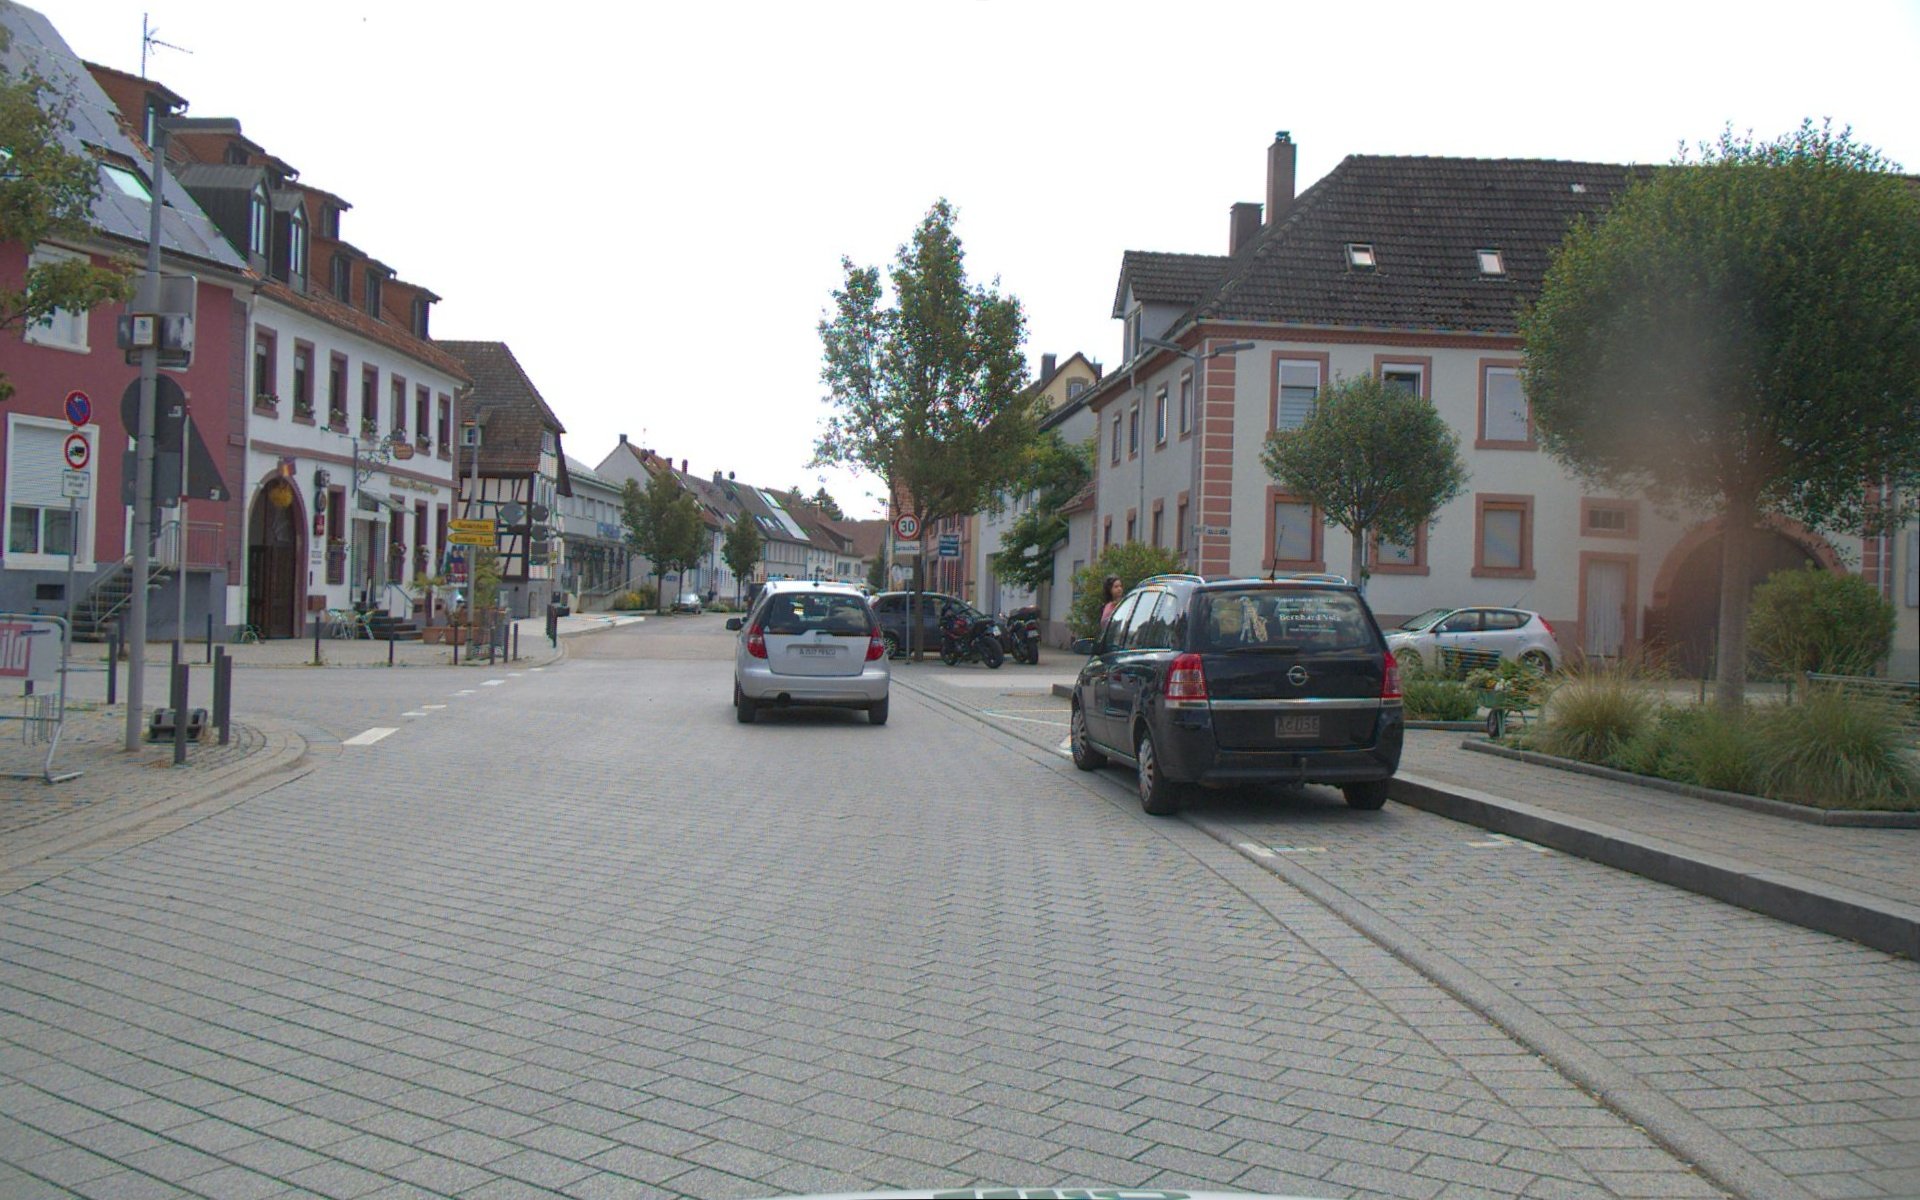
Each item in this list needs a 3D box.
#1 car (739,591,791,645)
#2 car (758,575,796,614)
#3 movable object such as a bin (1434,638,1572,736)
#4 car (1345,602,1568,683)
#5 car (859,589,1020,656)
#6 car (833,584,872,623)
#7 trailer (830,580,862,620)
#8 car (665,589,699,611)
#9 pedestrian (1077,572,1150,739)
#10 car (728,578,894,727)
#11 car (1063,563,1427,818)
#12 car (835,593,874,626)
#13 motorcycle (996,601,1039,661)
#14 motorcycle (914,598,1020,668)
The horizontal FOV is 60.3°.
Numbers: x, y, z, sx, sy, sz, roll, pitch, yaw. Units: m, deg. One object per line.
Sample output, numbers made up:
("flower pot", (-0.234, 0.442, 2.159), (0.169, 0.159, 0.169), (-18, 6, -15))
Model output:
("car", (-7.562, 0.679, 64.489), (1.734, 1.920, 4.442), (4, -1, -5))
("car", (-11.054, -0.325, 100.161), (2.193, 2.261, 3.995), (1, -1, -6))
("movable object such as a bin", (5.399, 0.847, 16.522), (0.721, 0.881, 1.433), (2, 0, -9))
("car", (9.918, 0.829, 33.210), (3.912, 1.499, 1.825), (1, 0, -1))
("car", (-0.535, 0.546, 41.072), (3.778, 1.605, 1.846), (0, 0, -10))
("car", (-5.762, 0.176, 88.191), (1.855, 2.017, 4.925), (-1, 0, -6))
("trailer", (-7.085, -0.001, 102.835), (1.809, 2.395, 3.584), (1, 0, -6))
("car", (-19.207, -0.006, 114.396), (1.768, 1.486, 4.156), (2, 0, -2))
("pedestrian", (1.551, 0.556, 16.800), (0.626, 1.657, 0.620), (1, 0, -3))
("car", (-1.906, 0.562, 20.153), (1.736, 1.622, 3.991), (0, 0, -9))
("car", (1.956, 0.576, 12.715), (1.734, 1.592, 4.414), (1, 0, -4))
("car", (-5.136, 0.431, 80.205), (1.740, 1.521, 4.156), (1, 0, -6))
("motorcycle", (1.313, 0.697, 37.912), (0.939, 1.321, 2.226), (0, 0, 2))
("motorcycle", (0.144, 0.683, 35.387), (2.182, 1.419, 0.869), (1, 0, 37))
